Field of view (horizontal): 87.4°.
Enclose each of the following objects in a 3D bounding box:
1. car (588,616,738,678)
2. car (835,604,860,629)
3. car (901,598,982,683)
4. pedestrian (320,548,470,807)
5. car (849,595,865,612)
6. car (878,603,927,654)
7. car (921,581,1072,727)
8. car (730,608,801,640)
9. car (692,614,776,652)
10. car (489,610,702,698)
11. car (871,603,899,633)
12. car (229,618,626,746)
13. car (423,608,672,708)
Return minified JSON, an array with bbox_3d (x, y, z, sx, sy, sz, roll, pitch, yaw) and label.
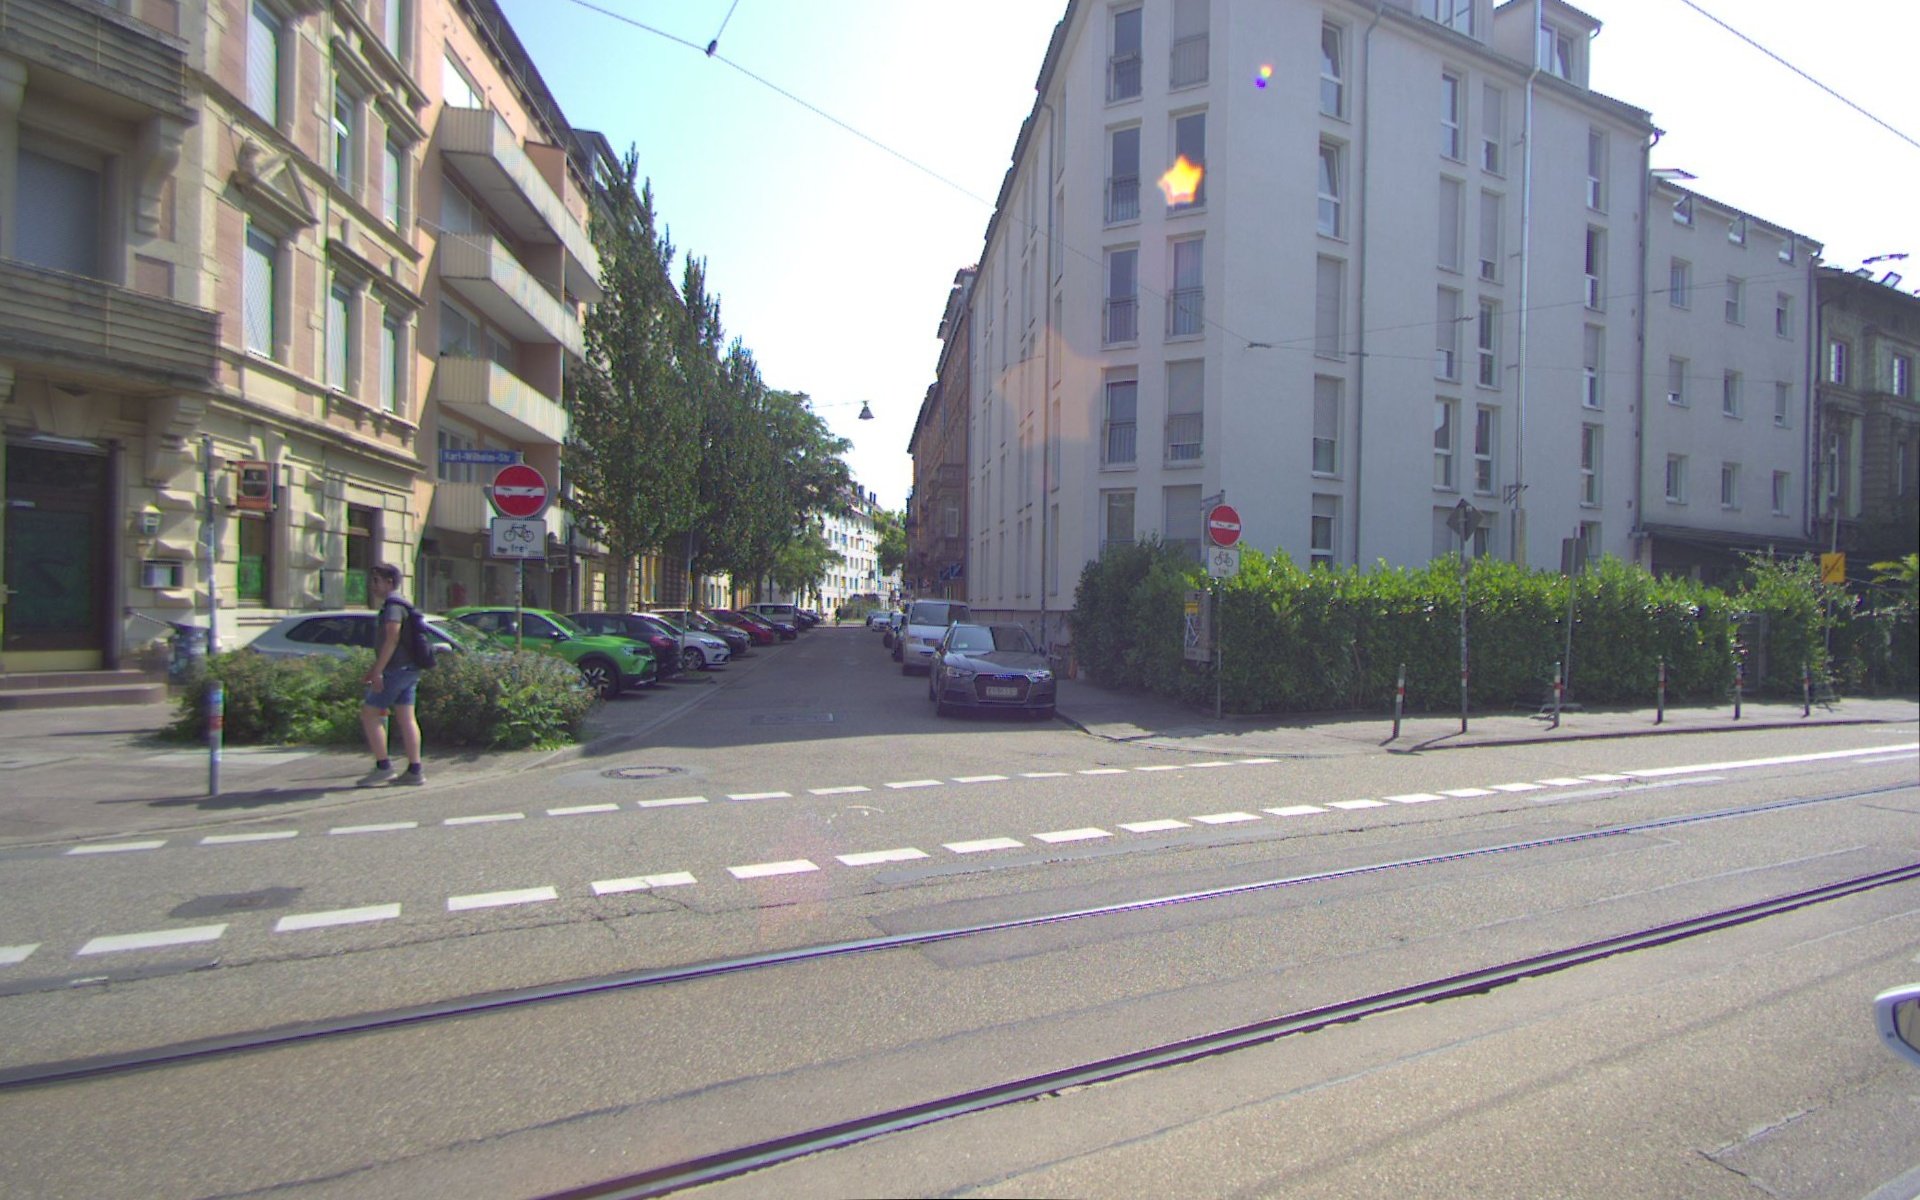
[{"bbox_3d":[-7.811,1.229,26.694,3.541,1.476,1.737,2,0,-7],"label":"car"},{"bbox_3d":[-9.510,1.390,85.186,1.962,2.040,3.997,1,0,-4],"label":"car"},{"bbox_3d":[-0.561,0.991,26.388,1.855,2.015,3.997,1,0,-5],"label":"car"},{"bbox_3d":[-4.683,0.623,8.390,0.959,2.040,0.655,1,-1,-19],"label":"pedestrian"},{"bbox_3d":[-12.636,0.418,123.376,1.855,2.015,3.996,1,0,-6],"label":"car"},{"bbox_3d":[-2.514,1.188,43.110,1.855,2.015,3.996,1,0,-6],"label":"car"},{"bbox_3d":[0.446,0.771,16.184,1.855,2.015,3.996,1,0,-6],"label":"car"},{"bbox_3d":[-10.282,1.273,53.386,3.541,1.610,1.737,2,0,-7],"label":"car"},{"bbox_3d":[-9.477,1.359,42.307,3.223,1.476,1.737,2,0,-7],"label":"car"},{"bbox_3d":[-7.224,1.061,20.221,3.670,1.595,1.737,2,0,-7],"label":"car"},{"bbox_3d":[-5.417,1.267,72.479,1.855,2.015,3.996,1,0,-6],"label":"car"},{"bbox_3d":[-6.680,1.006,13.048,4.066,1.508,1.999,1,-1,-5],"label":"car"},{"bbox_3d":[-7.118,0.987,17.662,3.670,1.595,1.737,2,0,-7],"label":"car"}]
